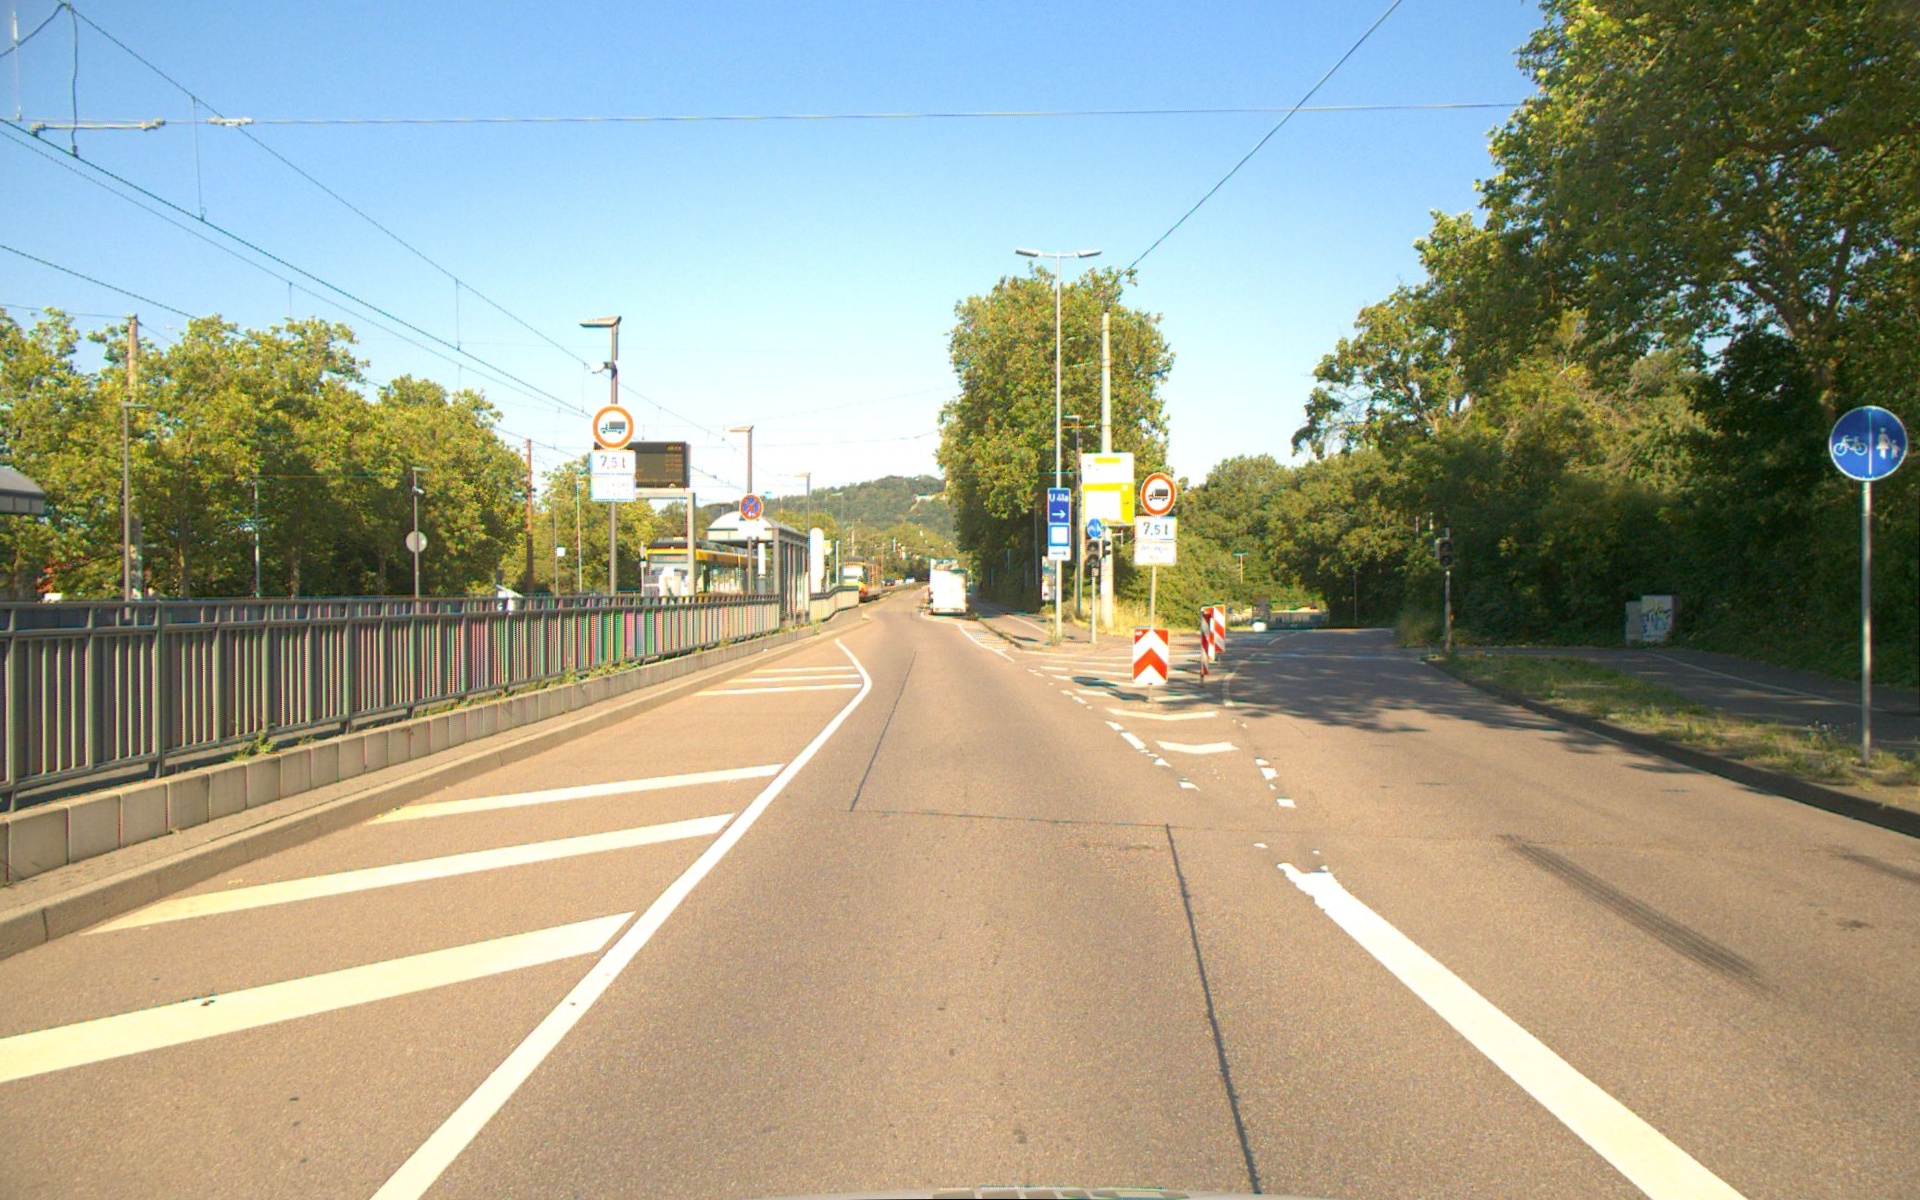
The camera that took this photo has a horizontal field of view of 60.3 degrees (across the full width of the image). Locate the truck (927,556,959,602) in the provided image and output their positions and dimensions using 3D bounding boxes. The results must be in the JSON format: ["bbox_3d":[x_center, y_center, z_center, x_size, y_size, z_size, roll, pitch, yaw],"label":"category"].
[{"bbox_3d":[-1.599,-1.863,147.644,2.686,3.849,10.087,1,0,-1],"label":"truck"}]

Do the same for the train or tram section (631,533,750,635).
[{"bbox_3d":[-11.936,-0.678,75.015,2.769,4.076,15.874,1,0,0],"label":"train or tram section"}]

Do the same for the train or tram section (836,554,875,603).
[{"bbox_3d":[-9.337,-1.926,148.659,2.666,4.162,13.614,-1,1,-1],"label":"train or tram section"}]

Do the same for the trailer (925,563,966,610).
[{"bbox_3d":[-0.816,-0.819,99.734,2.204,2.742,5.948,0,0,2],"label":"trailer"}]

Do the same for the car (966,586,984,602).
[{"bbox_3d":[1.402,-0.532,151.389,1.619,1.462,3.777,0,0,0],"label":"car"}]
